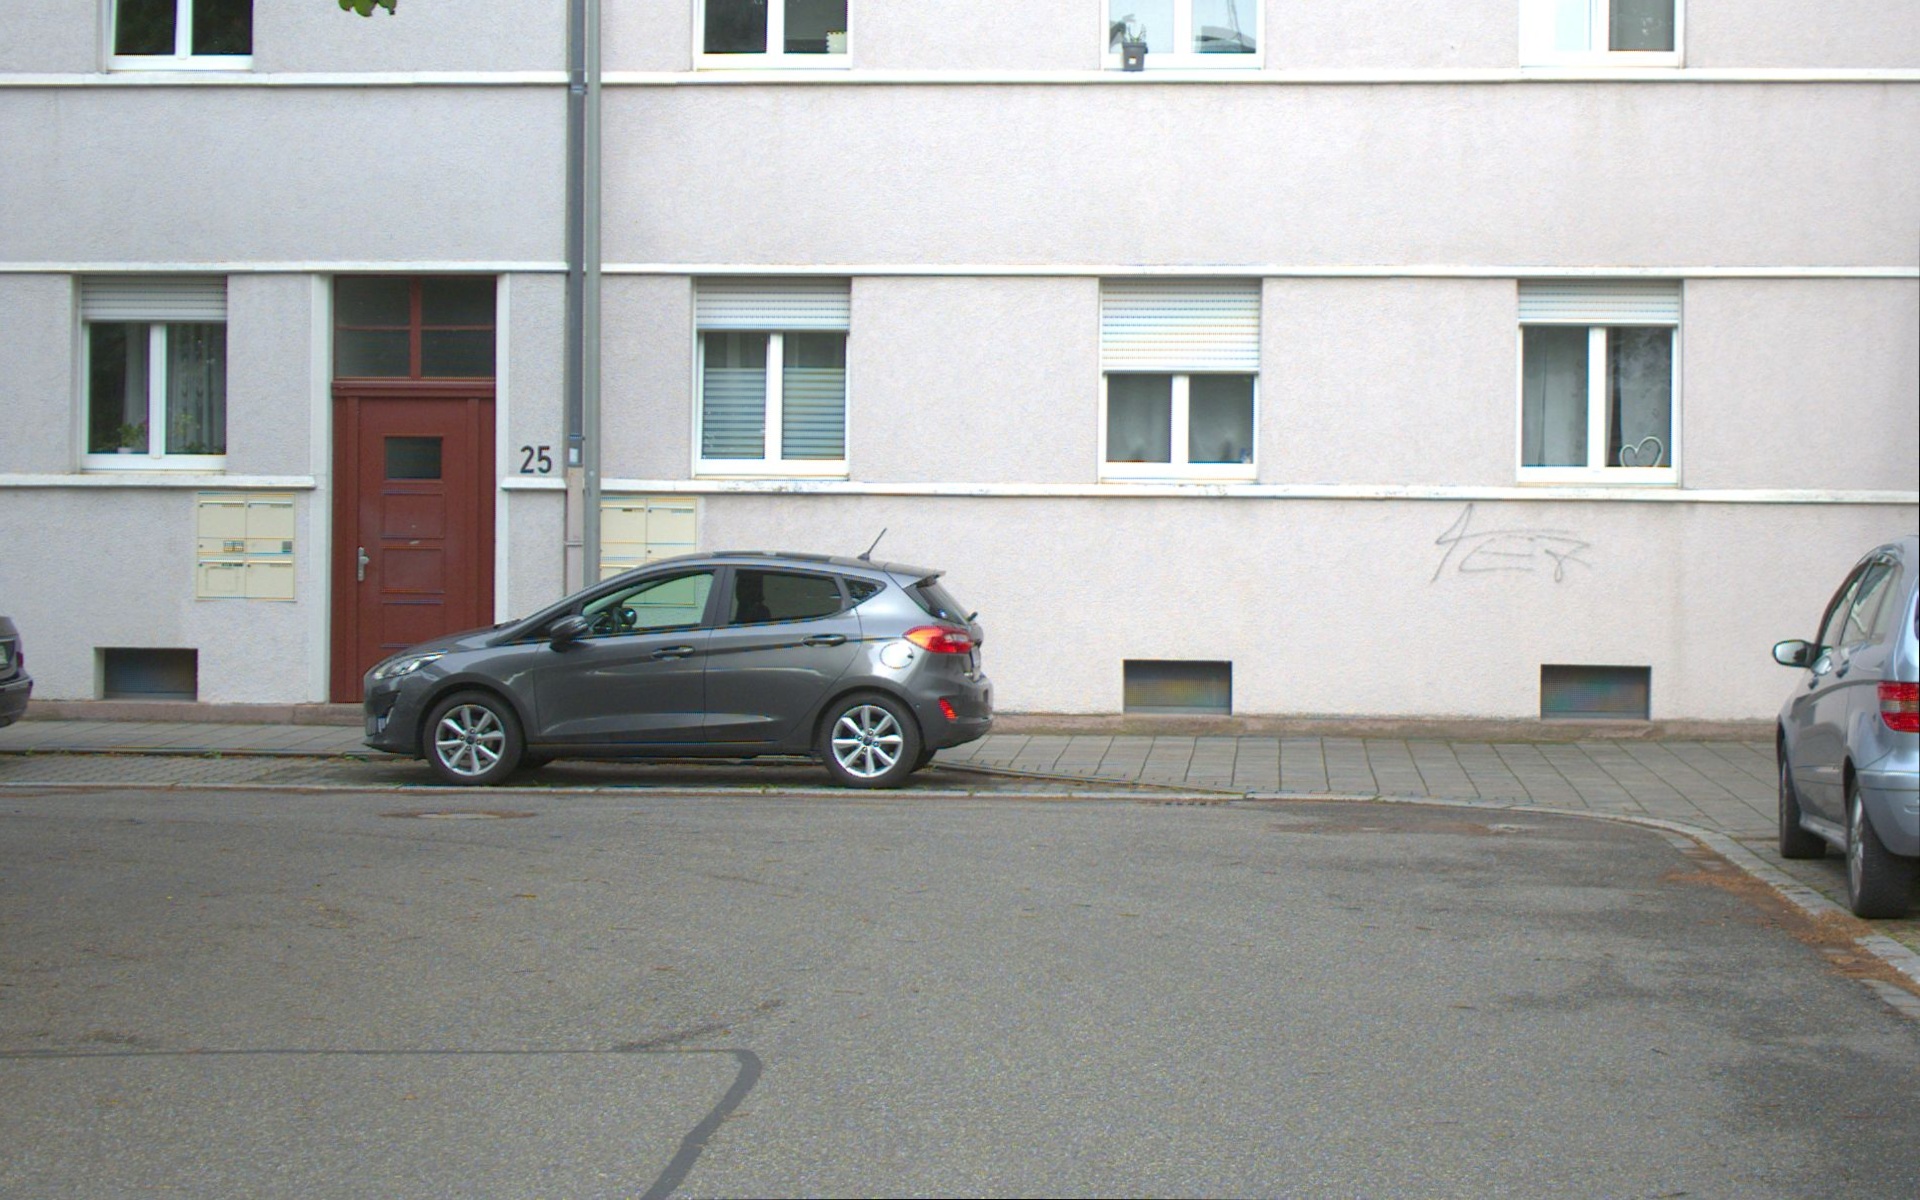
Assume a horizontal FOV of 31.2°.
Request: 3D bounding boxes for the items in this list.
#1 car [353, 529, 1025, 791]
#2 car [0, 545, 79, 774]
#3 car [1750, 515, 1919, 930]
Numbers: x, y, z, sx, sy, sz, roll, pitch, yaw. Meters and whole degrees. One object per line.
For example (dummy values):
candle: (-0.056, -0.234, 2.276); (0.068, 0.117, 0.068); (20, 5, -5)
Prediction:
car: (-1.669, 0.347, 22.049); (4.066, 1.520, 1.762); (1, 2, 4)
car: (-8.469, 0.325, 22.484); (4.934, 1.416, 1.751); (1, 2, 4)
car: (4.649, 0.479, 15.448); (1.757, 1.622, 4.199); (1, 0, 8)
